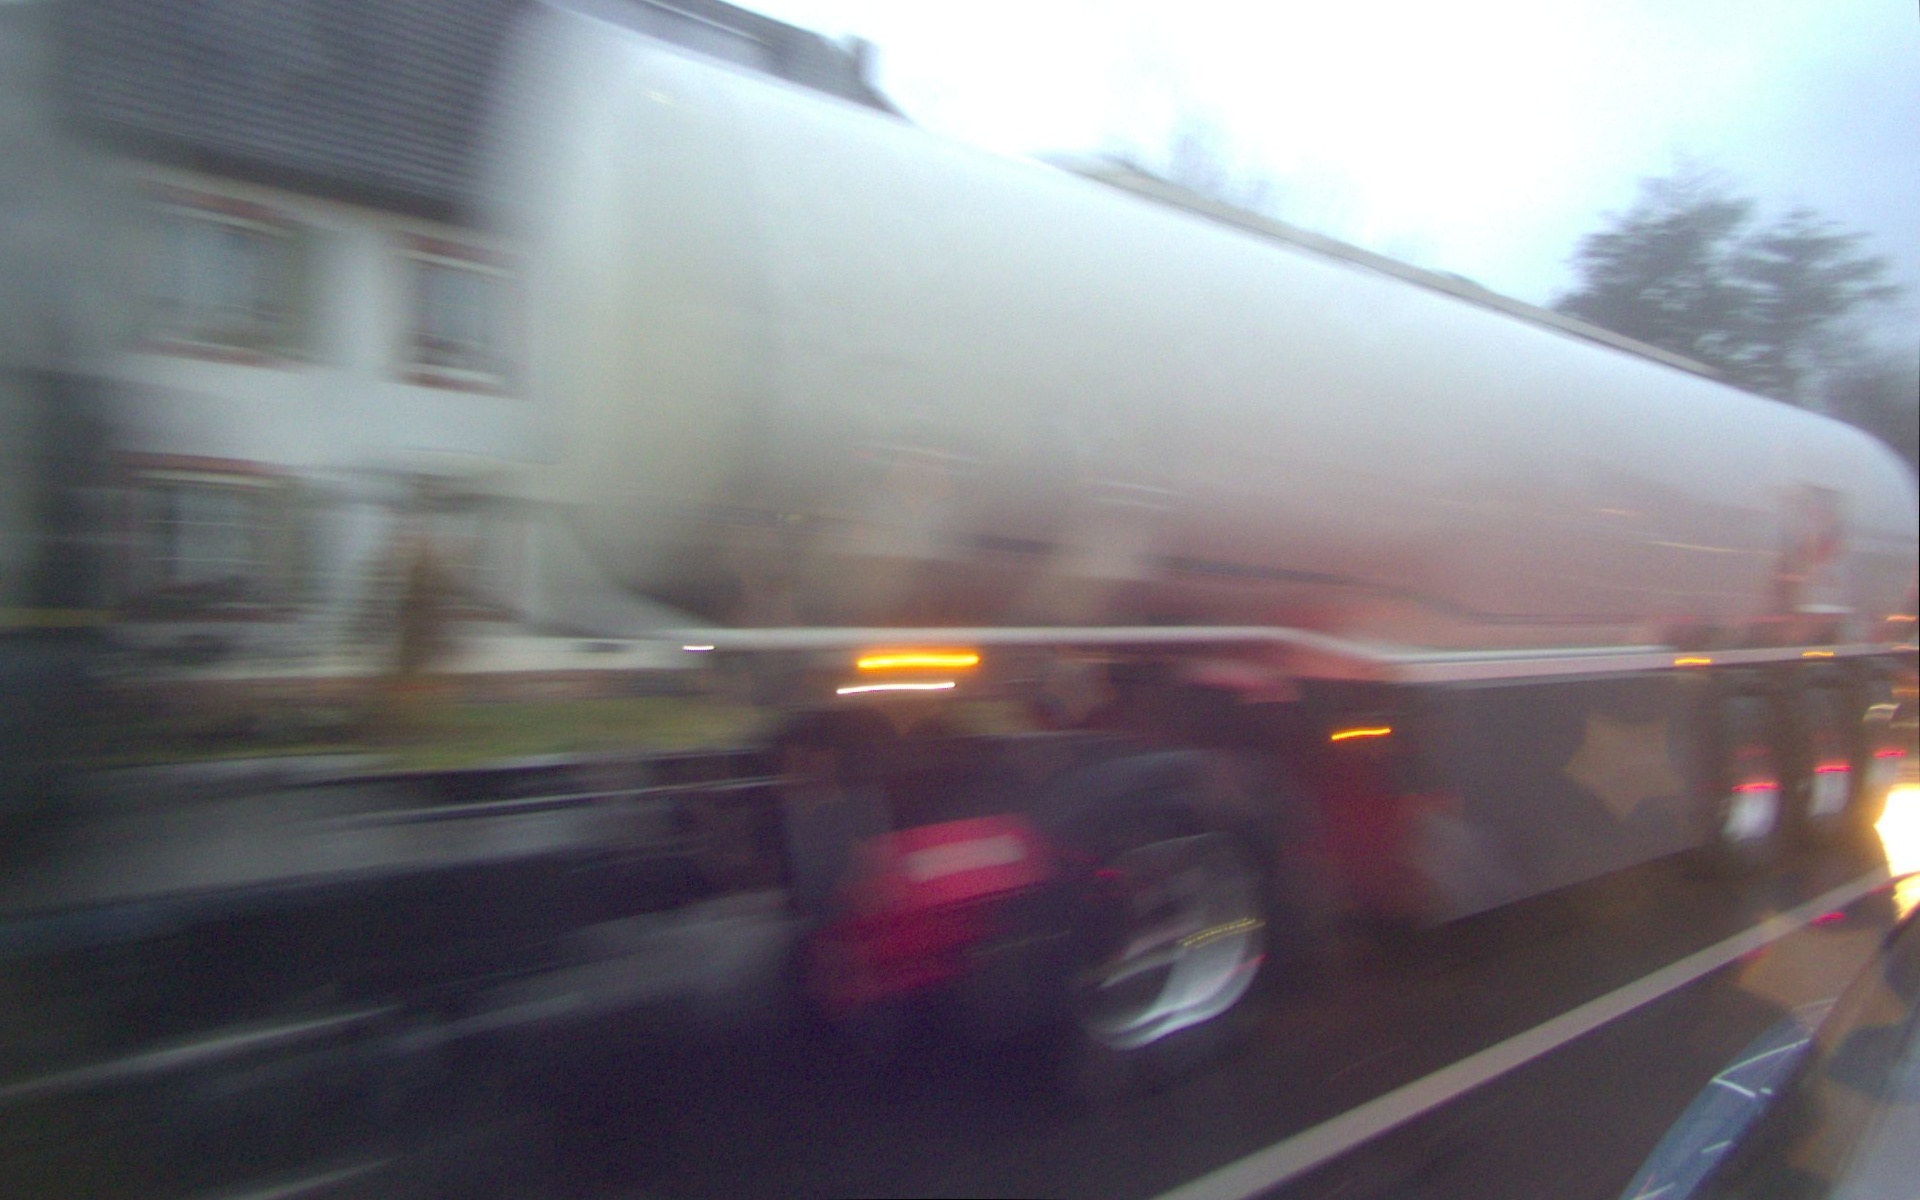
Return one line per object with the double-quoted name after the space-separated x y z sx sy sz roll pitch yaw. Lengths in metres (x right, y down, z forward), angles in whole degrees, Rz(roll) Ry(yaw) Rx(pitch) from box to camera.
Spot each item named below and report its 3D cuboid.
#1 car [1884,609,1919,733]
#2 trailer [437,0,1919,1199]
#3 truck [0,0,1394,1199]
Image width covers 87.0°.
13.301 0.838 12.652 4.298 1.457 1.668 0 -1 -35 "car"
2.978 -0.176 6.078 10.658 3.282 2.496 0 0 -34 "trailer"
-1.683 -0.183 2.947 6.151 3.271 2.470 0 0 -34 "truck"
